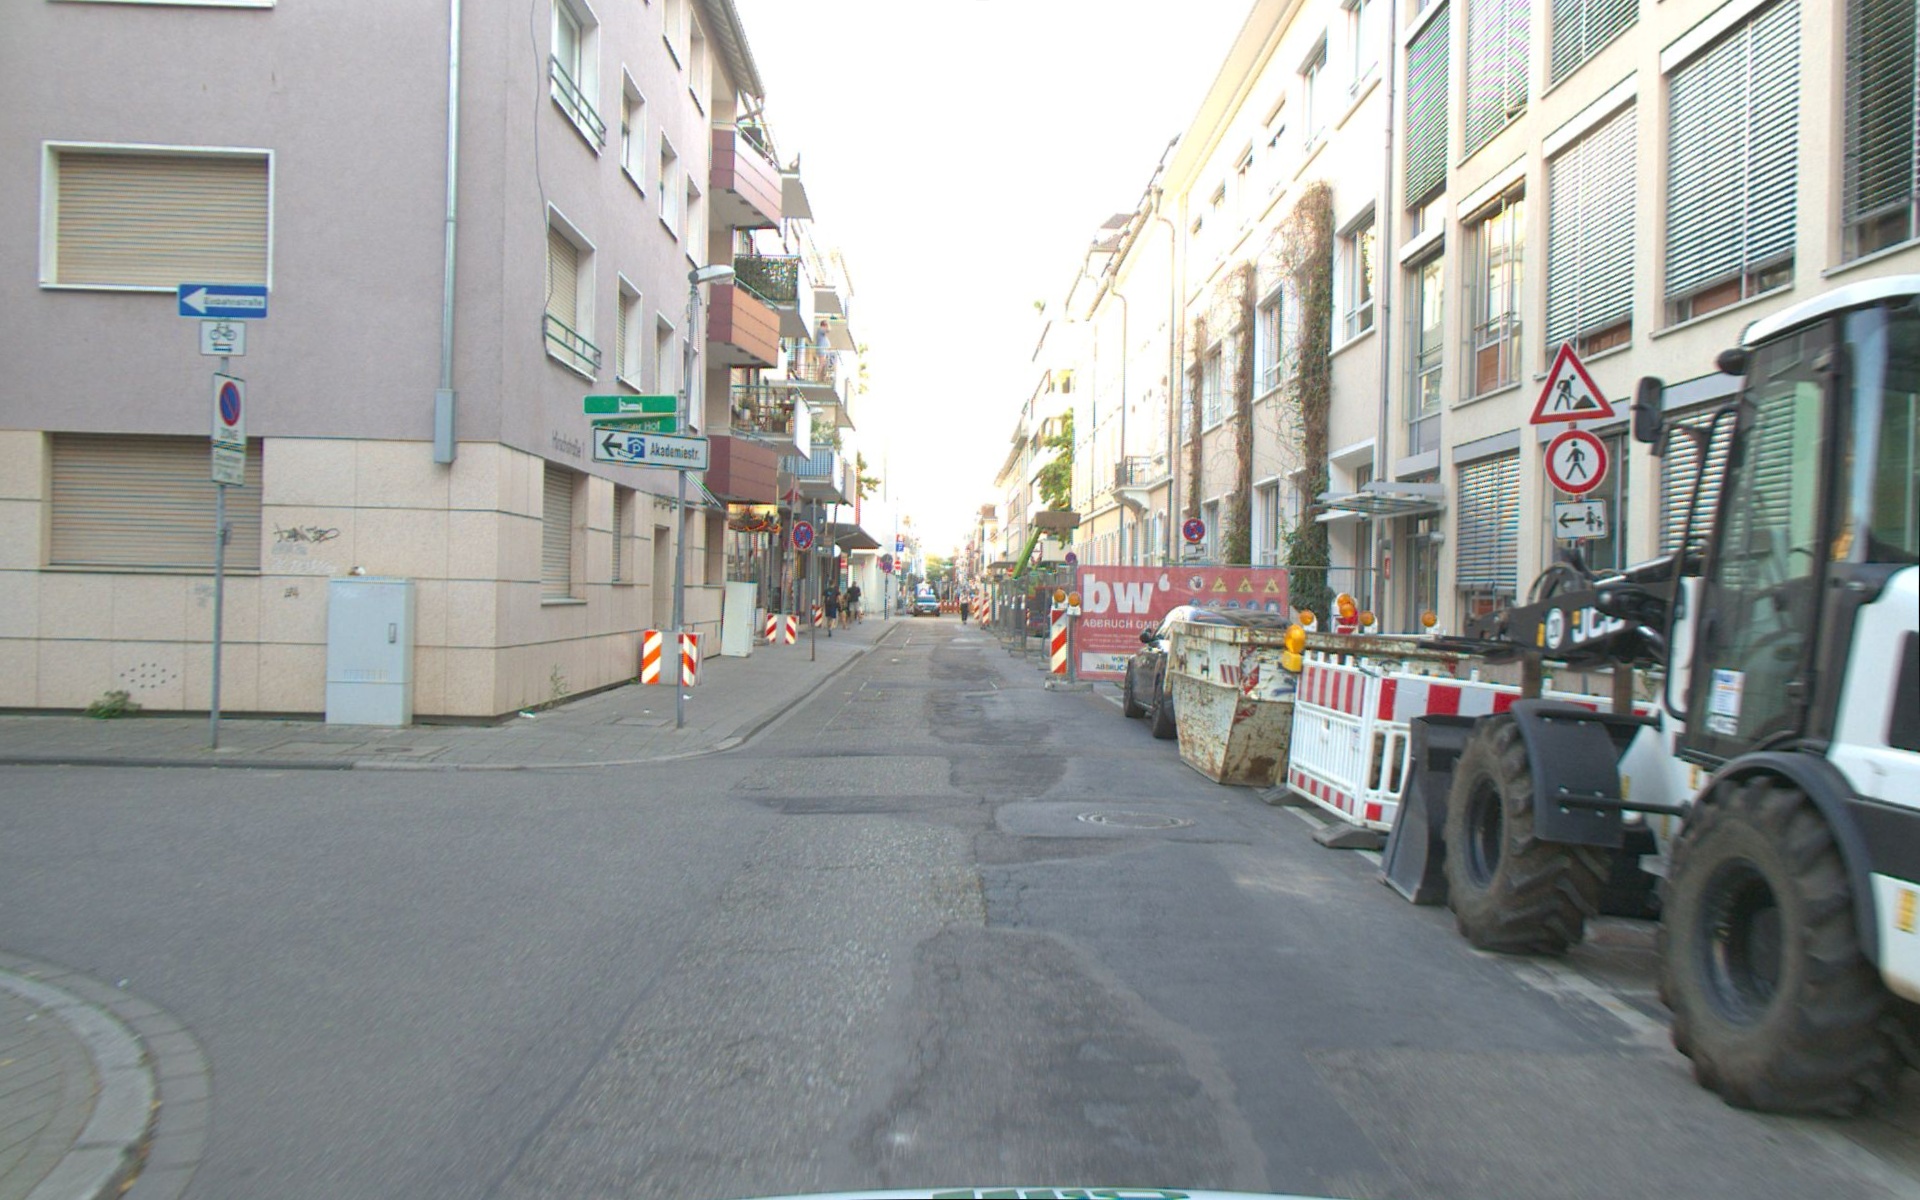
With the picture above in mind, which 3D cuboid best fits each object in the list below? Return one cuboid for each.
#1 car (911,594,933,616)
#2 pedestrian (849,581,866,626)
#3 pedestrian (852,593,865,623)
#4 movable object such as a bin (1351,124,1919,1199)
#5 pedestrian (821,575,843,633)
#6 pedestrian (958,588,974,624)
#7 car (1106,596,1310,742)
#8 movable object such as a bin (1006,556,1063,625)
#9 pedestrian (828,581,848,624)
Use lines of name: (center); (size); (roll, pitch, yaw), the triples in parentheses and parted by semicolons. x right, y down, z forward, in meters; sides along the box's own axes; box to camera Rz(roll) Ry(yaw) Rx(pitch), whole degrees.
car: (-2.562, 0.298, 111.704); (1.444, 1.422, 3.331); (1, 0, -1)
pedestrian: (-4.429, 0.157, 71.288); (0.640, 1.919, 0.574); (1, 0, 3)
pedestrian: (-4.806, 0.363, 78.248); (0.547, 1.415, 0.892); (1, 0, -1)
movable object such as a bin: (3.312, 0.177, 6.465); (2.122, 2.641, 5.542); (1, 0, -1)
pedestrian: (-4.147, 0.123, 53.585); (0.616, 1.840, 0.647); (1, 0, 1)
pedestrian: (0.279, 0.282, 80.863); (0.705, 1.770, 0.647); (1, 0, -3)
car: (2.800, 0.722, 19.568); (1.659, 1.430, 4.479); (2, 1, -1)
movable object such as a bin: (3.602, -0.520, 80.309); (2.420, 3.185, 4.297); (2, 1, -1)
pedestrian: (-4.539, 0.107, 61.522); (0.635, 1.592, 0.628); (1, 0, -16)
